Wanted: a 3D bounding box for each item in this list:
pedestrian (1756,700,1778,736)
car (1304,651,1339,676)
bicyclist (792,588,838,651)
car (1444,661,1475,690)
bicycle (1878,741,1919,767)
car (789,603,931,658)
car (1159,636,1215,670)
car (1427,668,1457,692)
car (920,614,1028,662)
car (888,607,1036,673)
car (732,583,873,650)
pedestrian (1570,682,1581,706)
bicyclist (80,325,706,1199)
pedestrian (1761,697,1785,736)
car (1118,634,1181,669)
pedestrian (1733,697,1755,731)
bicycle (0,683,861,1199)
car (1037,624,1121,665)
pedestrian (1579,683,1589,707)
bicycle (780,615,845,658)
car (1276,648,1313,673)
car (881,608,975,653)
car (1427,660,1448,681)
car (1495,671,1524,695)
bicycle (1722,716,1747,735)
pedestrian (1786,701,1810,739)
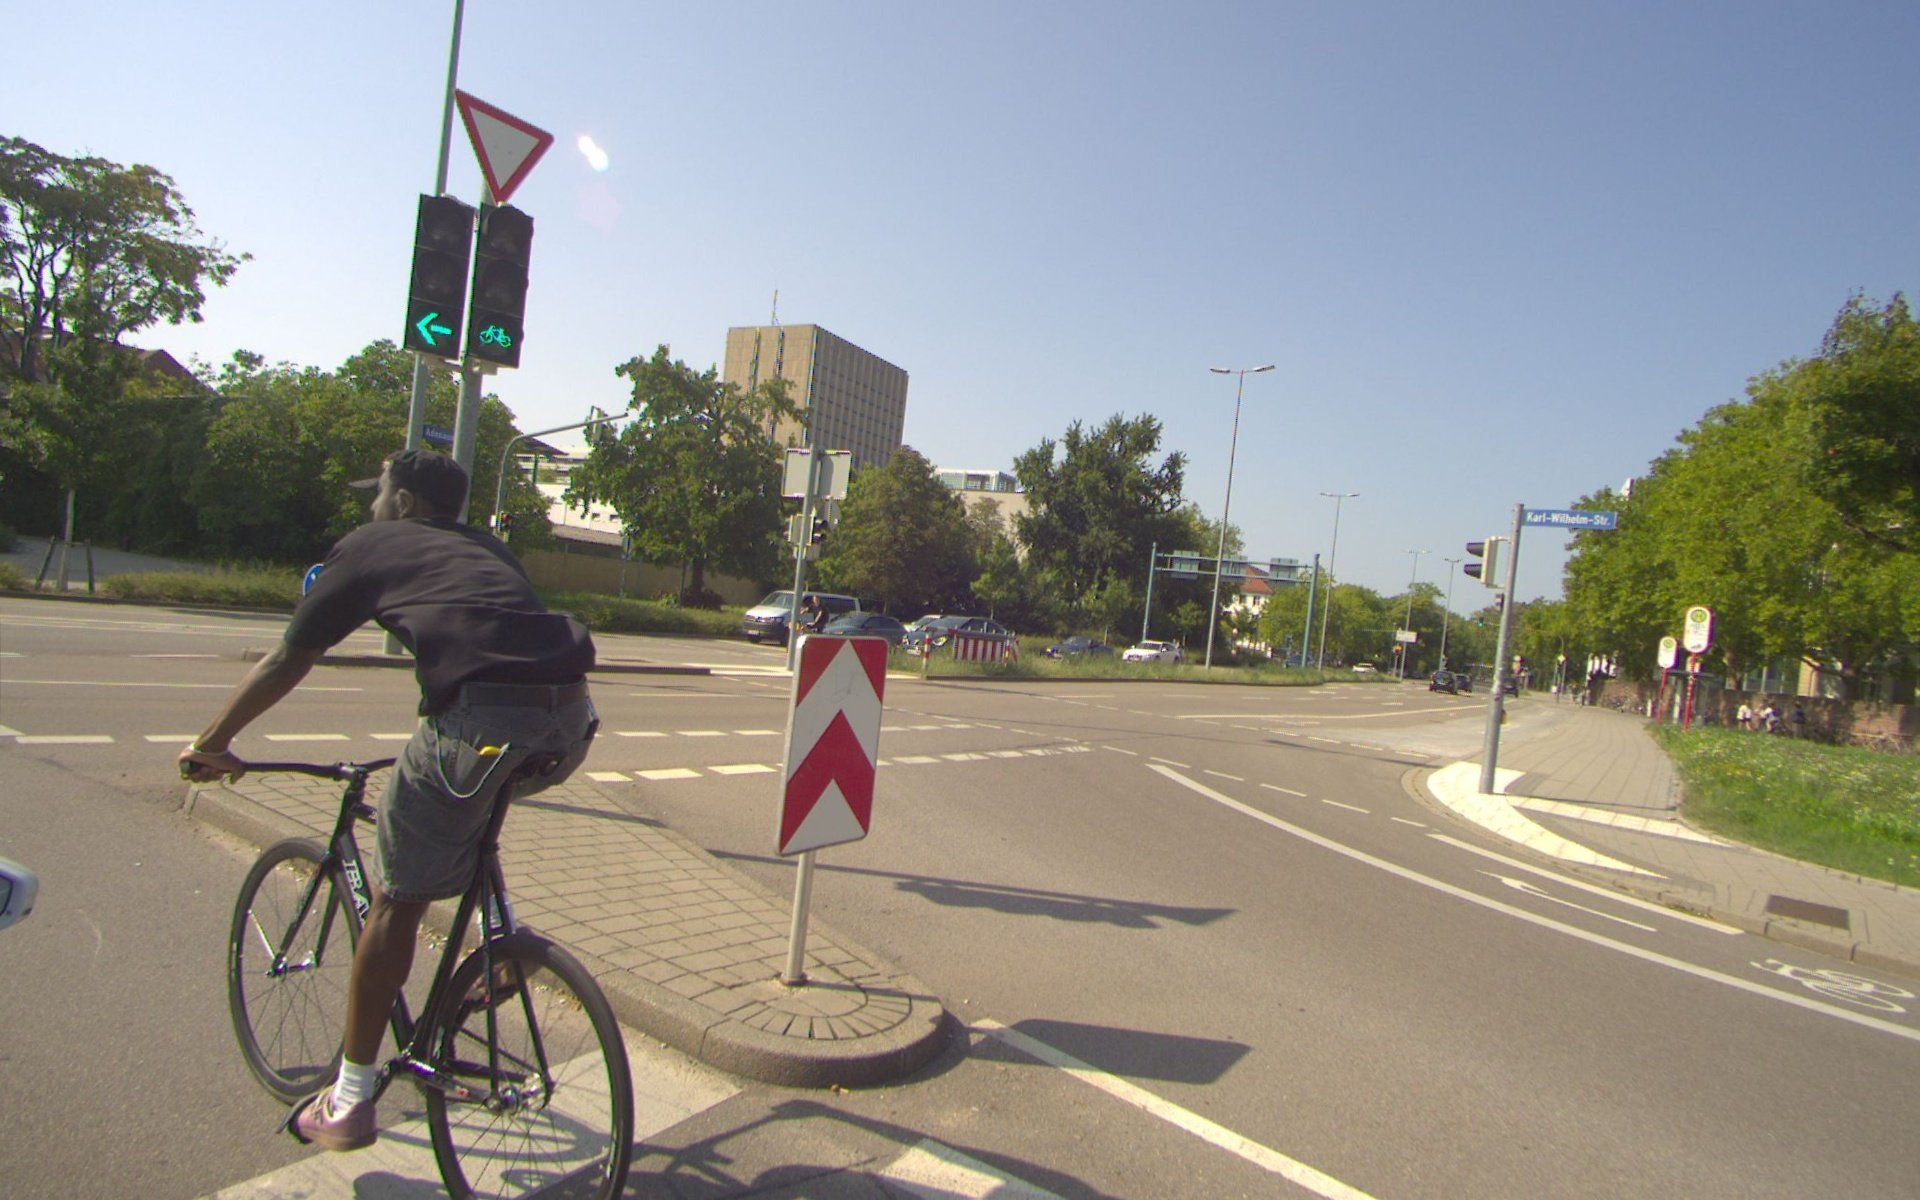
[{"bbox_3d":[39.103,5.729,48.744,0.474,1.670,0.595,7,-1,13],"label":"pedestrian"},{"bbox_3d":[26.433,4.640,73.482,1.682,1.593,3.994,7,0,29],"label":"car"},{"bbox_3d":[-4.115,0.556,28.577,0.737,1.656,0.873,7,1,34],"label":"bicyclist"},{"bbox_3d":[41.962,6.388,84.571,1.885,2.036,4.002,7,-3,24],"label":"car"},{"bbox_3d":[38.373,6.275,41.073,0.425,0.846,1.551,6,0,9],"label":"bicycle"},{"bbox_3d":[-3.272,1.073,33.863,1.882,1.418,4.903,6,-1,36],"label":"car"},{"bbox_3d":[13.540,3.181,59.918,1.900,1.680,4.287,6,0,30],"label":"car"},{"bbox_3d":[36.273,6.001,75.660,1.682,1.593,3.994,7,0,29],"label":"car"},{"bbox_3d":[0.629,1.545,40.005,1.969,1.524,4.420,6,-1,36],"label":"car"},{"bbox_3d":[0.156,1.227,29.898,1.827,1.597,4.696,4,-2,38],"label":"car"},{"bbox_3d":[-5.473,0.635,35.652,1.819,1.898,4.957,7,0,36],"label":"car"},{"bbox_3d":[46.023,7.046,75.242,0.477,1.760,0.505,7,-1,29],"label":"pedestrian"},{"bbox_3d":[-1.317,0.280,2.387,0.973,1.598,0.773,7,1,29],"label":"bicyclist"},{"bbox_3d":[37.358,5.346,46.217,0.510,1.670,0.595,7,-1,13],"label":"pedestrian"},{"bbox_3d":[10.236,2.797,54.242,1.900,1.524,4.287,6,0,30],"label":"car"},{"bbox_3d":[38.127,5.531,48.942,0.525,1.589,0.503,7,-1,11],"label":"pedestrian"},{"bbox_3d":[-1.372,0.840,2.405,2.113,0.988,0.773,7,0,29],"label":"bicycle"},{"bbox_3d":[5.613,2.097,47.042,1.969,1.524,4.281,6,0,36],"label":"car"},{"bbox_3d":[46.332,7.064,74.686,0.477,1.760,0.505,7,-1,29],"label":"pedestrian"},{"bbox_3d":[-4.177,1.046,28.569,0.758,1.066,1.770,7,1,34],"label":"bicycle"},{"bbox_3d":[27.100,4.898,81.392,1.900,1.680,4.287,6,0,30],"label":"car"},{"bbox_3d":[-1.314,1.304,42.344,1.783,1.524,3.955,6,0,36],"label":"car"},{"bbox_3d":[55.761,8.246,117.449,1.885,2.036,4.002,7,-3,24],"label":"car"},{"bbox_3d":[53.270,8.058,97.629,1.885,2.036,4.002,7,-3,24],"label":"car"},{"bbox_3d":[41.277,6.684,53.617,0.426,0.846,1.550,7,0,17],"label":"bicycle"},{"bbox_3d":[38.385,5.491,46.098,0.474,1.670,0.595,7,-1,13],"label":"pedestrian"}]
